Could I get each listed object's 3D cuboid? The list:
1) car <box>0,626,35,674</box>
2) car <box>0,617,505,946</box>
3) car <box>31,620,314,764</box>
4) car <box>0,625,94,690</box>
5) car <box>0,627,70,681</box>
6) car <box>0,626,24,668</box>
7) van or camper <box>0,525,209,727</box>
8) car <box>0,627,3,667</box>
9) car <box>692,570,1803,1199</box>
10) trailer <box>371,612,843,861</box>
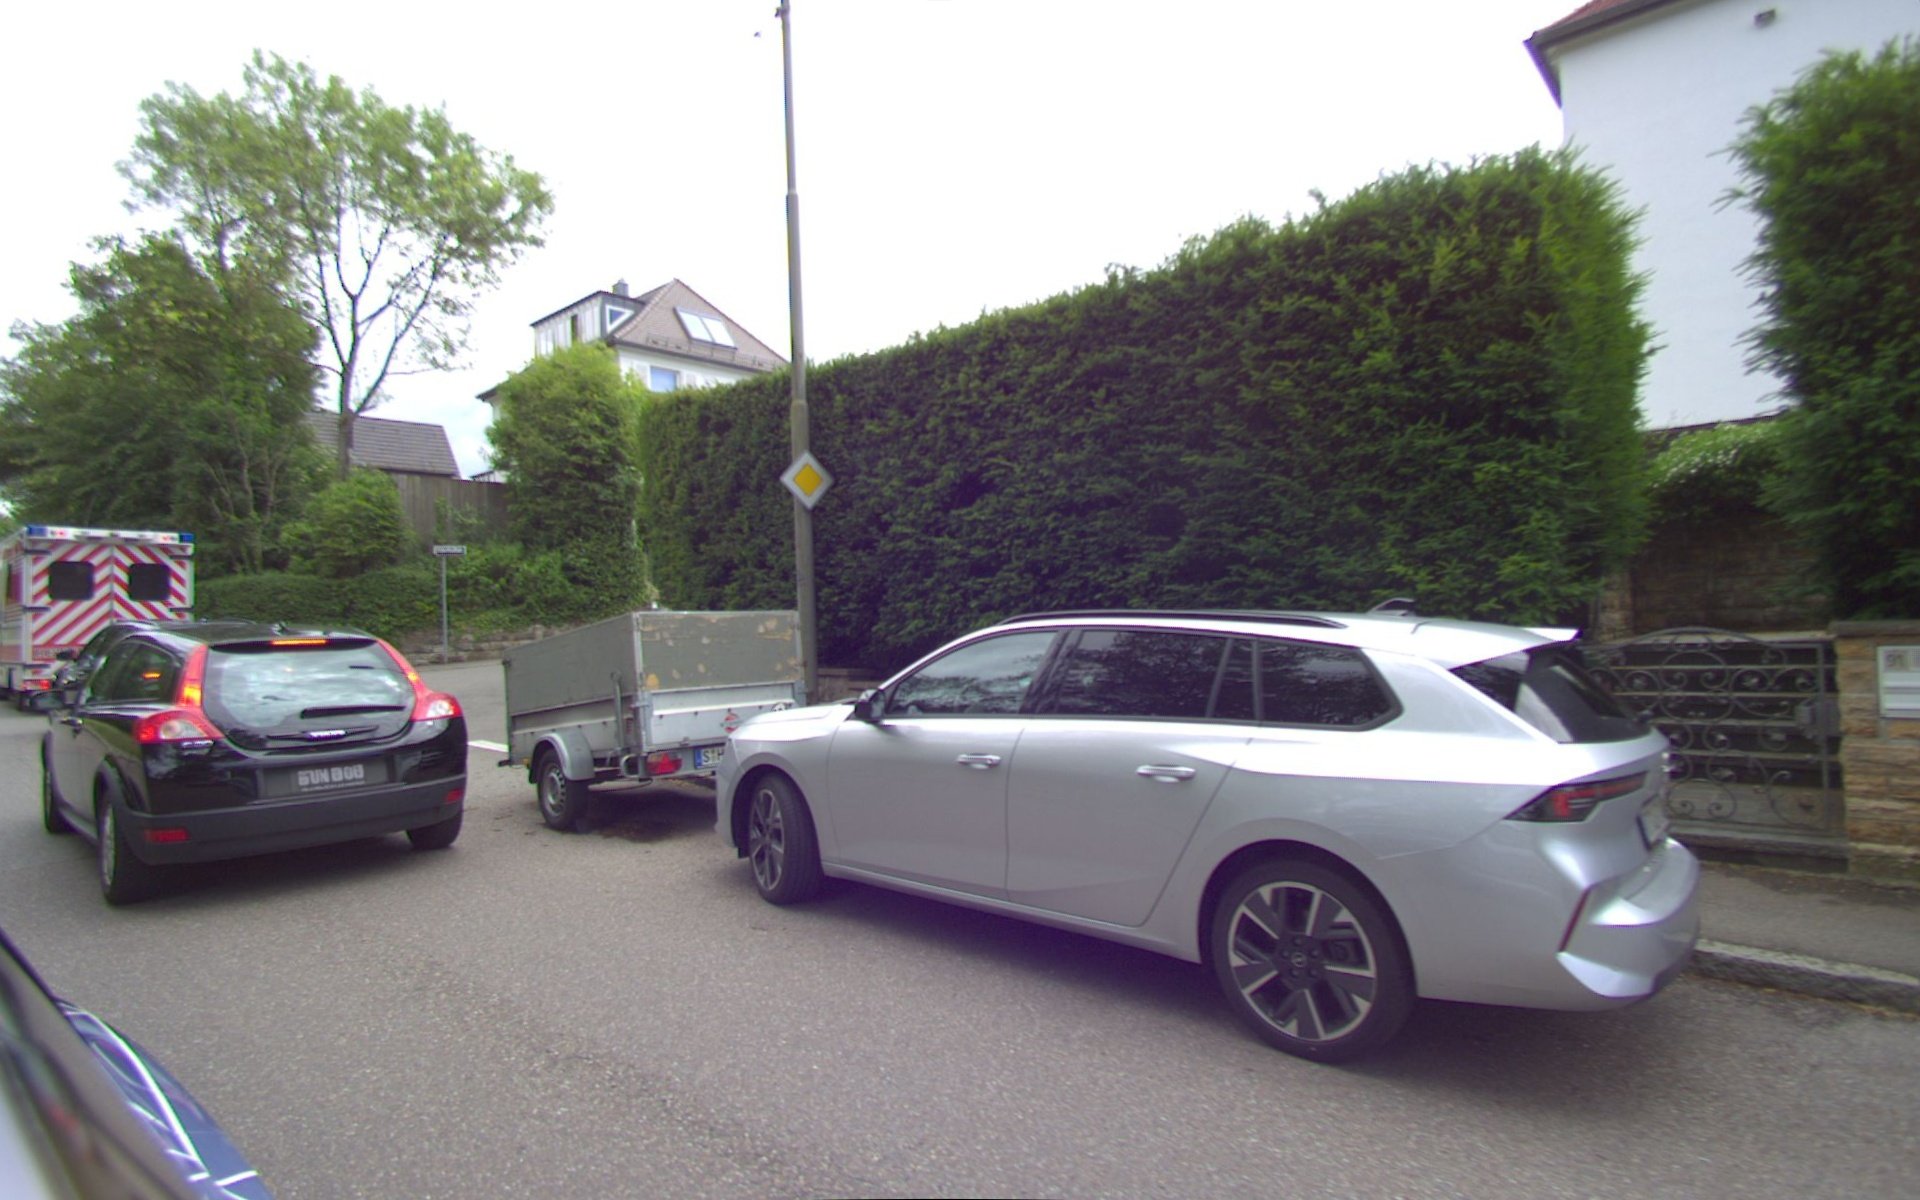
[{"bbox_3d":[-31.859,1.614,33.281,4.006,1.516,1.702,-2,-3,41],"label":"car"},{"bbox_3d":[-4.899,0.882,6.697,4.471,1.457,1.745,-2,-2,41],"label":"car"},{"bbox_3d":[-9.793,1.008,12.460,4.467,1.457,1.746,-2,-1,38],"label":"car"},{"bbox_3d":[-23.667,1.421,25.860,4.863,1.516,1.778,-2,-3,43],"label":"car"},{"bbox_3d":[-27.857,1.556,29.972,4.058,1.516,1.702,-2,-3,41],"label":"car"},{"bbox_3d":[-36.189,1.735,37.457,3.812,1.516,1.703,-2,-3,39],"label":"car"},{"bbox_3d":[-15.649,0.458,17.994,7.167,2.917,2.429,-2,-1,43],"label":"van or camper"},{"bbox_3d":[-39.944,1.883,40.408,4.598,1.574,1.897,-2,-3,39],"label":"car"},{"bbox_3d":[0.834,0.758,4.538,4.471,1.511,1.745,-2,-3,41],"label":"car"},{"bbox_3d":[-3.106,0.891,8.325,4.472,1.507,1.744,-2,-2,42],"label":"trailer"}]
